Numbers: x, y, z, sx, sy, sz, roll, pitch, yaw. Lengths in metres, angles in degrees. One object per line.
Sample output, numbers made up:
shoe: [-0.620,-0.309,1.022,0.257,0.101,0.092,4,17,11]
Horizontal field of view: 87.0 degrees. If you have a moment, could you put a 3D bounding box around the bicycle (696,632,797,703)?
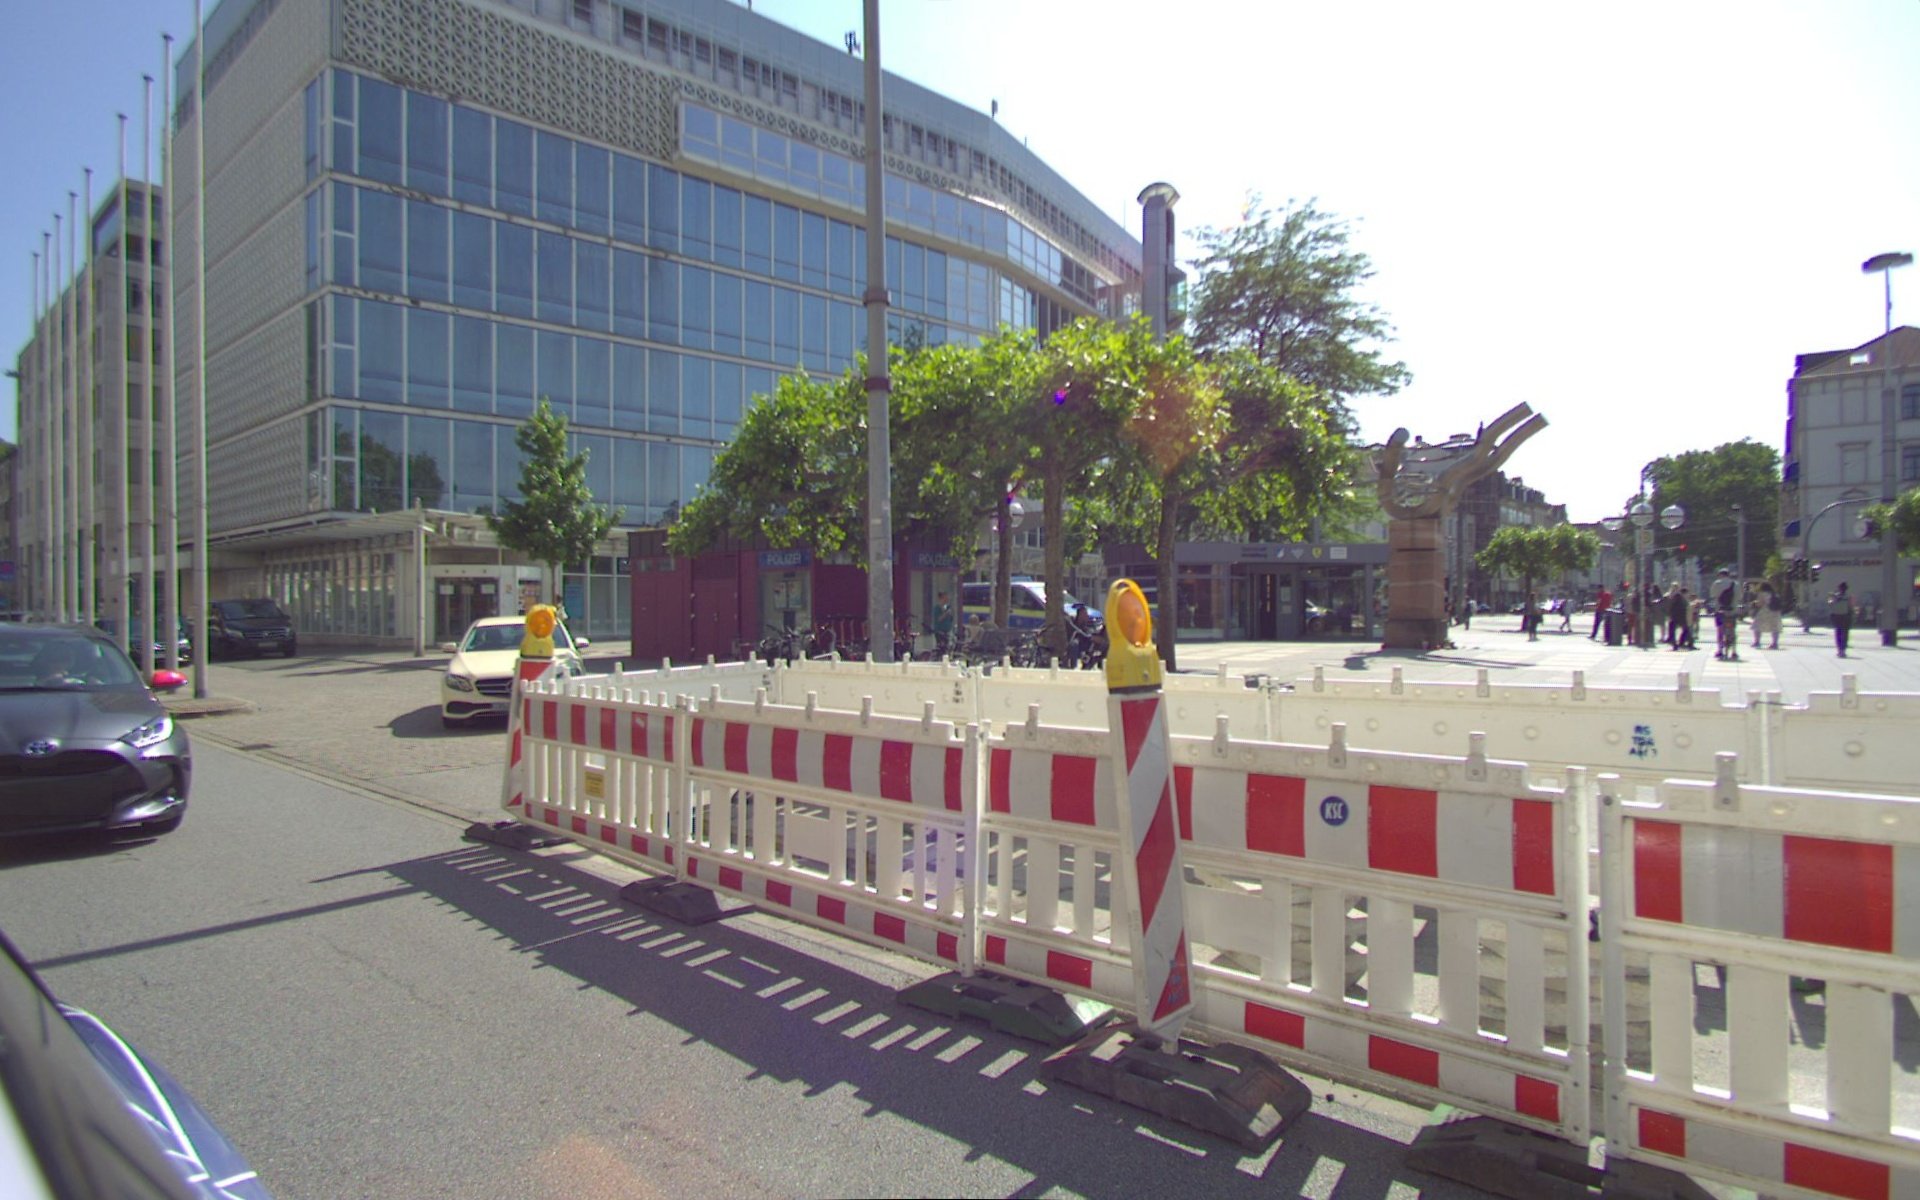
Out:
bicycle: [-3.661,1.128,17.485,0.562,1.114,1.765,-1,-1,38]

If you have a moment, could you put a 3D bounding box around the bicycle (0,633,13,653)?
bicycle: [-58.650,2.585,61.181,2.030,1.178,0.607,0,-1,-12]

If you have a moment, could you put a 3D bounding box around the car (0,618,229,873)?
car: [-7.021,0.936,7.461,4.106,1.489,1.843,-3,-5,43]

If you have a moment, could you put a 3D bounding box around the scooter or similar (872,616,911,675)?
scooter or similar: [-1.472,0.950,21.613,0.260,1.223,1.307,-1,0,-29]

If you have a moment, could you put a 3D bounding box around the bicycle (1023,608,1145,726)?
bicycle: [1.637,0.823,13.092,0.740,1.358,1.765,-1,1,38]

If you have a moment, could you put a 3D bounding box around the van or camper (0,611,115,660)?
van or camper: [-41.577,1.620,45.890,4.585,2.029,2.004,-2,0,-10]

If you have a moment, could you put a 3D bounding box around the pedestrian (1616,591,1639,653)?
pedestrian: [19.231,0.629,29.154,0.502,1.762,0.539,-1,0,36]

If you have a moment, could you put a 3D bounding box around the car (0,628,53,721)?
car: [-16.414,1.184,16.774,4.107,1.407,1.710,-1,-1,43]

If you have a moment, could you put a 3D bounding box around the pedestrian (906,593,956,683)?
pedestrian: [-0.550,0.725,19.477,0.685,1.690,0.666,-1,0,33]

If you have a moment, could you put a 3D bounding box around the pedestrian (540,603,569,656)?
pedestrian: [-13.390,0.967,33.407,0.674,1.728,0.723,1,-2,-40]

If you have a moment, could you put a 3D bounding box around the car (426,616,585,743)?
car: [-6.764,1.065,15.409,1.864,1.553,4.877,-1,-1,-21]

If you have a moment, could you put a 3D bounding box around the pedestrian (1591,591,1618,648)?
pedestrian: [20.261,0.614,31.827,0.603,1.762,0.797,-1,0,25]

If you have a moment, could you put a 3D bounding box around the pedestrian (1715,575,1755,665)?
pedestrian: [15.985,0.402,20.874,0.605,1.812,0.794,-1,1,36]

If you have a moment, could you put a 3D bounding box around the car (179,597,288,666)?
car: [-23.038,0.970,32.011,4.683,2.029,1.813,-2,-1,41]

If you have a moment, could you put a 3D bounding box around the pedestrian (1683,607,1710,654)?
pedestrian: [26.233,1.073,36.054,0.602,1.651,0.570,-1,0,22]

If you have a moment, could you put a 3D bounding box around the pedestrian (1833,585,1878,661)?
pedestrian: [19.082,0.476,21.577,0.605,1.572,0.794,-1,1,36]

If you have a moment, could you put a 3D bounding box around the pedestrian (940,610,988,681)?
pedestrian: [0.073,0.851,19.213,0.683,1.319,0.668,-1,0,24]

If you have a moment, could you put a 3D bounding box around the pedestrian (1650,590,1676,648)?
pedestrian: [20.978,0.558,30.203,0.605,1.679,0.794,-1,1,36]

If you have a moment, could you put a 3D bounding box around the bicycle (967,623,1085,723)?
bicycle: [0.900,0.921,13.343,0.662,1.194,1.765,-1,-1,38]

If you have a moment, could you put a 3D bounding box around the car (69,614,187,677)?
car: [-23.232,1.236,28.205,4.706,1.612,1.743,-2,-1,40]

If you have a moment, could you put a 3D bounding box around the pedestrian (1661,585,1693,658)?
pedestrian: [17.641,0.511,24.907,0.605,1.762,0.794,-1,1,36]

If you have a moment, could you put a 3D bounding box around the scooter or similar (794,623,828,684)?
scooter or similar: [-3.104,1.094,21.052,0.230,1.223,1.307,-1,0,-29]

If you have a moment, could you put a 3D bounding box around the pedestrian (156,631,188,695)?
pedestrian: [-22.664,1.801,29.116,0.524,1.806,0.540,-1,-1,-10]

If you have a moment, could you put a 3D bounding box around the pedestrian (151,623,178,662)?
pedestrian: [-35.959,1.906,45.734,0.640,1.673,0.780,0,2,38]

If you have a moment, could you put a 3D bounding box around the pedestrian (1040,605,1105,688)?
pedestrian: [1.968,0.799,17.725,0.662,1.392,0.898,-1,-1,-40]

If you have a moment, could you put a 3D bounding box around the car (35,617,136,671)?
car: [-27.655,1.375,31.946,4.736,1.534,1.780,-2,-1,41]

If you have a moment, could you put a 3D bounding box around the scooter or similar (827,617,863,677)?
scooter or similar: [-2.435,0.969,21.318,0.230,1.223,1.307,-1,0,-29]

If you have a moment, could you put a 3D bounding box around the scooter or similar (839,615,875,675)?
scooter or similar: [-2.193,0.929,21.378,0.230,1.223,1.307,-1,0,-29]

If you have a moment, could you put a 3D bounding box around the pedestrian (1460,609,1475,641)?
pedestrian: [26.848,1.306,53.556,0.602,1.651,0.570,-1,0,22]

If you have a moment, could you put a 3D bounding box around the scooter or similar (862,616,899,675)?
scooter or similar: [-1.701,0.952,21.504,0.230,1.223,1.307,-1,0,-29]

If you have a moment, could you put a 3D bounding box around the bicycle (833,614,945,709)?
bicycle: [-1.036,0.890,15.209,0.662,1.319,1.765,-1,-1,38]

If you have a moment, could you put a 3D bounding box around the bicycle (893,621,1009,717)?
bicycle: [-0.096,0.925,14.172,0.662,1.224,1.765,-1,-1,38]

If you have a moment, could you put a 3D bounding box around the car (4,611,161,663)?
car: [-35.237,1.470,40.764,4.372,1.924,2.014,-1,-1,-12]

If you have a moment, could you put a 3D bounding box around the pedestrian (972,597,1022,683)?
pedestrian: [0.718,0.767,19.640,0.670,1.618,0.798,-1,0,28]

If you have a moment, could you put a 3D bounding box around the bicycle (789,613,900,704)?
bicycle: [-1.780,0.873,15.774,0.662,1.319,1.765,-1,-1,38]

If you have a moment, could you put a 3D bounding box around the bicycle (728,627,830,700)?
bicycle: [-3.046,1.045,17.147,0.562,1.141,1.765,-1,-1,38]

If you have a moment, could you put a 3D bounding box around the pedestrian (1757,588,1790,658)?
pedestrian: [20.933,0.580,26.056,0.605,1.762,0.794,-1,1,36]

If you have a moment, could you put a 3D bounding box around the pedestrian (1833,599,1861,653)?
pedestrian: [28.078,0.813,32.049,0.566,1.651,0.607,-2,1,-44]

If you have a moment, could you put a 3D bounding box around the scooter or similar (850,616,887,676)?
scooter or similar: [-1.951,0.950,21.465,0.230,1.223,1.307,-1,0,-29]

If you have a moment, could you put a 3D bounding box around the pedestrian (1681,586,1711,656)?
pedestrian: [18.966,0.533,26.087,0.605,1.762,0.794,-1,1,36]

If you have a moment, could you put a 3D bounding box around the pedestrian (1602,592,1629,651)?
pedestrian: [18.580,0.594,28.675,0.605,1.633,0.794,-1,1,36]

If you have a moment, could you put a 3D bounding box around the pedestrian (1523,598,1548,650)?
pedestrian: [18.721,0.782,32.950,0.602,1.651,0.570,-1,0,22]

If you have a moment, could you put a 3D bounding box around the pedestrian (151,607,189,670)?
pedestrian: [-23.256,1.118,29.799,0.610,1.806,0.694,-1,-1,-10]

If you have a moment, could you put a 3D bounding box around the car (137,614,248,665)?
car: [-27.177,1.359,35.806,4.392,1.623,1.975,-1,0,37]

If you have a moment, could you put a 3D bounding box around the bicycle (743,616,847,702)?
bicycle: [-2.692,0.943,16.687,0.562,1.319,1.765,-1,-1,38]

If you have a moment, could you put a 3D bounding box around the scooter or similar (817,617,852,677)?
scooter or similar: [-2.642,0.965,21.198,0.230,1.223,1.307,-1,0,-29]

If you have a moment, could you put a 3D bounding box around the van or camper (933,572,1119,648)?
van or camper: [1.752,0.283,27.993,5.020,1.933,1.854,-1,0,40]

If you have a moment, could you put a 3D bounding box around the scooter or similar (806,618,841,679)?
scooter or similar: [-2.859,0.991,21.111,0.230,1.223,1.307,-1,0,-29]
